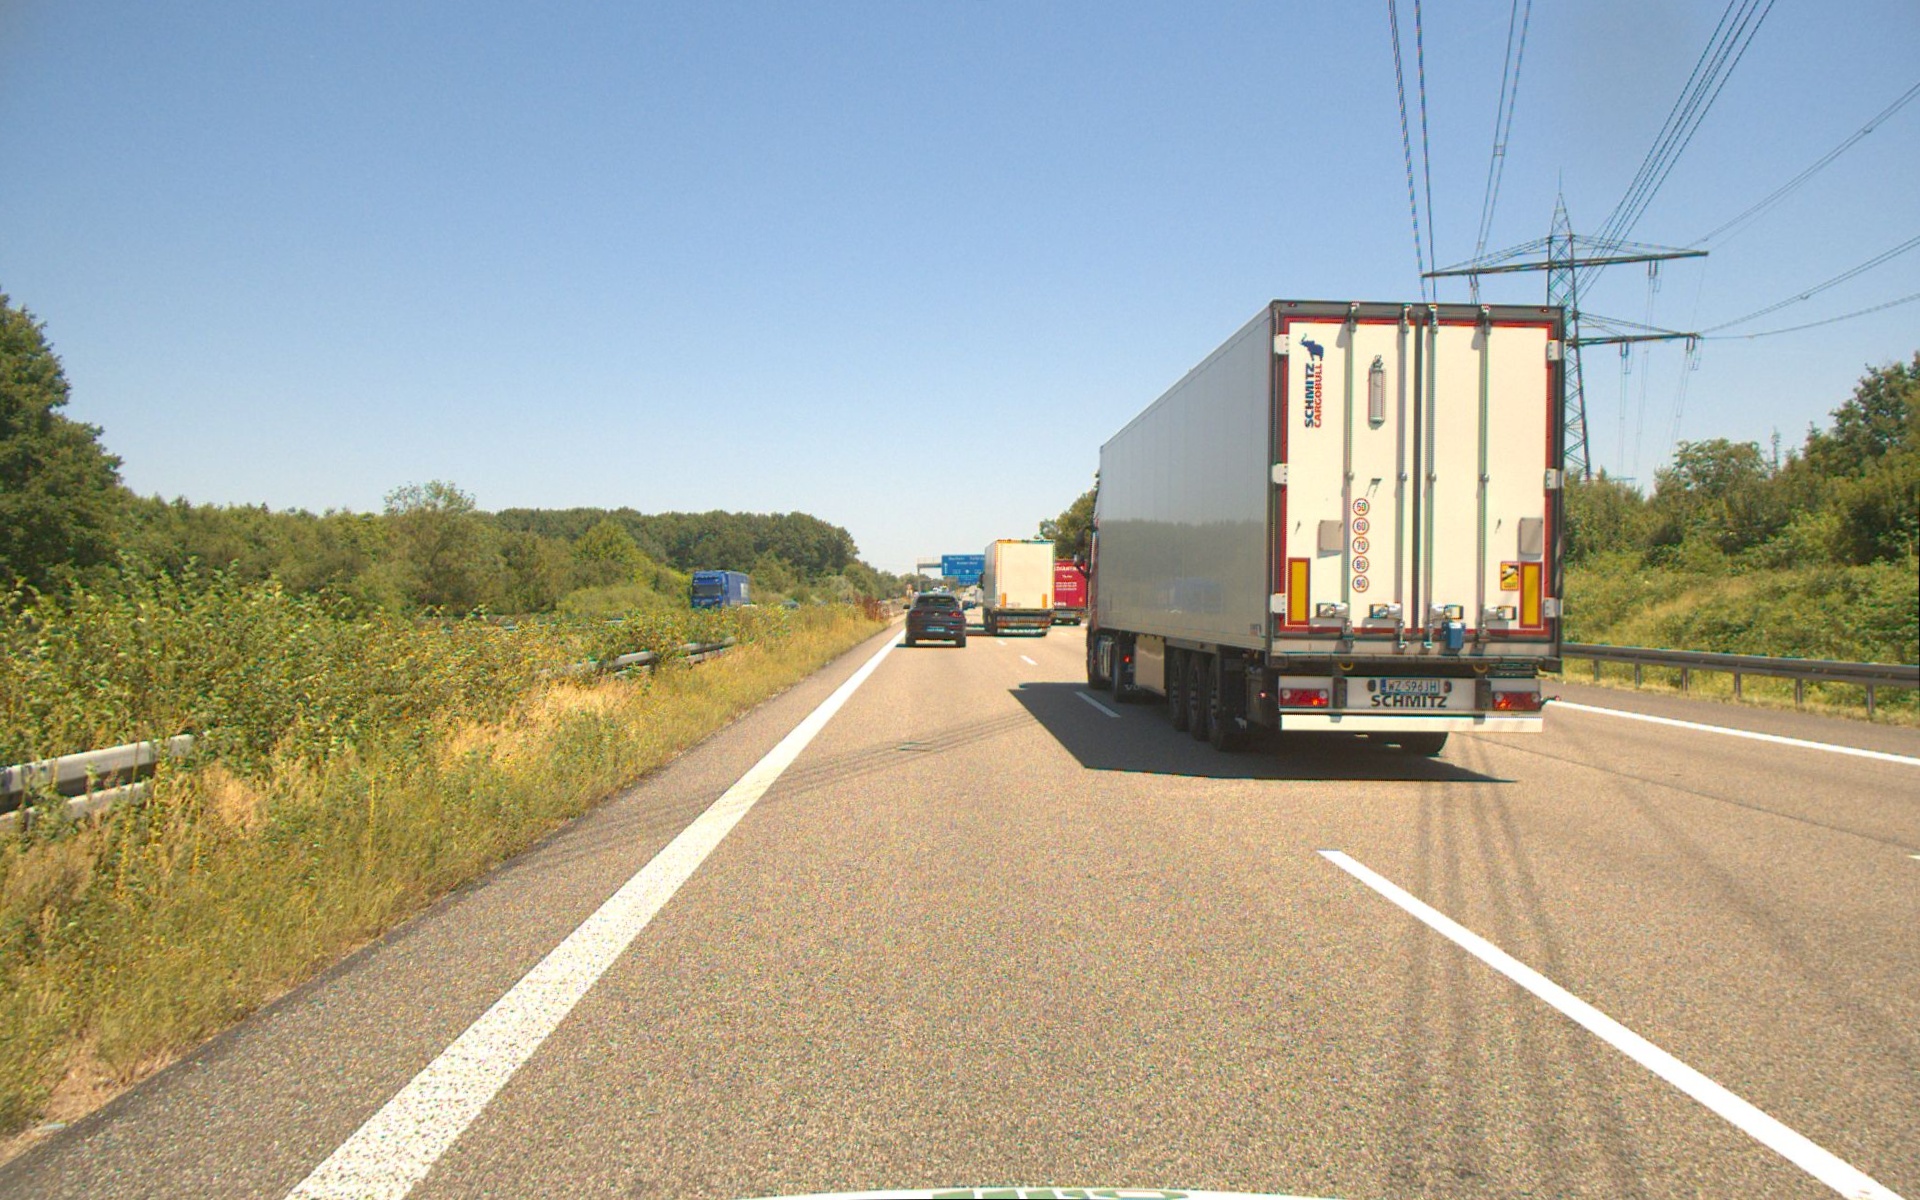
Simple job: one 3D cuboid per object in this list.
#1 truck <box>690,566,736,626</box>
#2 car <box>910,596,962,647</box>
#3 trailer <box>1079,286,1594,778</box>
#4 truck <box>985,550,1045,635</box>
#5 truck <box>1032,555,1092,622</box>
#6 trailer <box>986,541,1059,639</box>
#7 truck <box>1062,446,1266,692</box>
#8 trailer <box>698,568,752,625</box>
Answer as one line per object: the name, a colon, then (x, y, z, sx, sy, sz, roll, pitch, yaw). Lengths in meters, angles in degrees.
truck: (-18.371, -0.289, 123.312, 2.417, 4.205, 5.683, -3, 0, -1)
car: (-0.788, 0.674, 54.042, 1.626, 1.576, 3.782, 0, 0, -1)
trailer: (3.752, -0.537, 22.000, 2.878, 4.088, 16.196, 1, 0, -1)
truck: (2.706, -0.365, 83.023, 2.742, 4.077, 6.020, 1, 0, 0)
truck: (6.751, -0.697, 111.365, 2.993, 4.178, 13.215, 1, 0, -1)
trailer: (2.727, -0.403, 75.792, 2.738, 4.106, 12.566, 1, 0, 0)
truck: (3.592, -0.501, 30.599, 2.881, 4.055, 6.100, 1, 0, -1)
trailer: (-18.513, -0.268, 131.021, 2.422, 4.203, 13.463, -3, 0, -1)
